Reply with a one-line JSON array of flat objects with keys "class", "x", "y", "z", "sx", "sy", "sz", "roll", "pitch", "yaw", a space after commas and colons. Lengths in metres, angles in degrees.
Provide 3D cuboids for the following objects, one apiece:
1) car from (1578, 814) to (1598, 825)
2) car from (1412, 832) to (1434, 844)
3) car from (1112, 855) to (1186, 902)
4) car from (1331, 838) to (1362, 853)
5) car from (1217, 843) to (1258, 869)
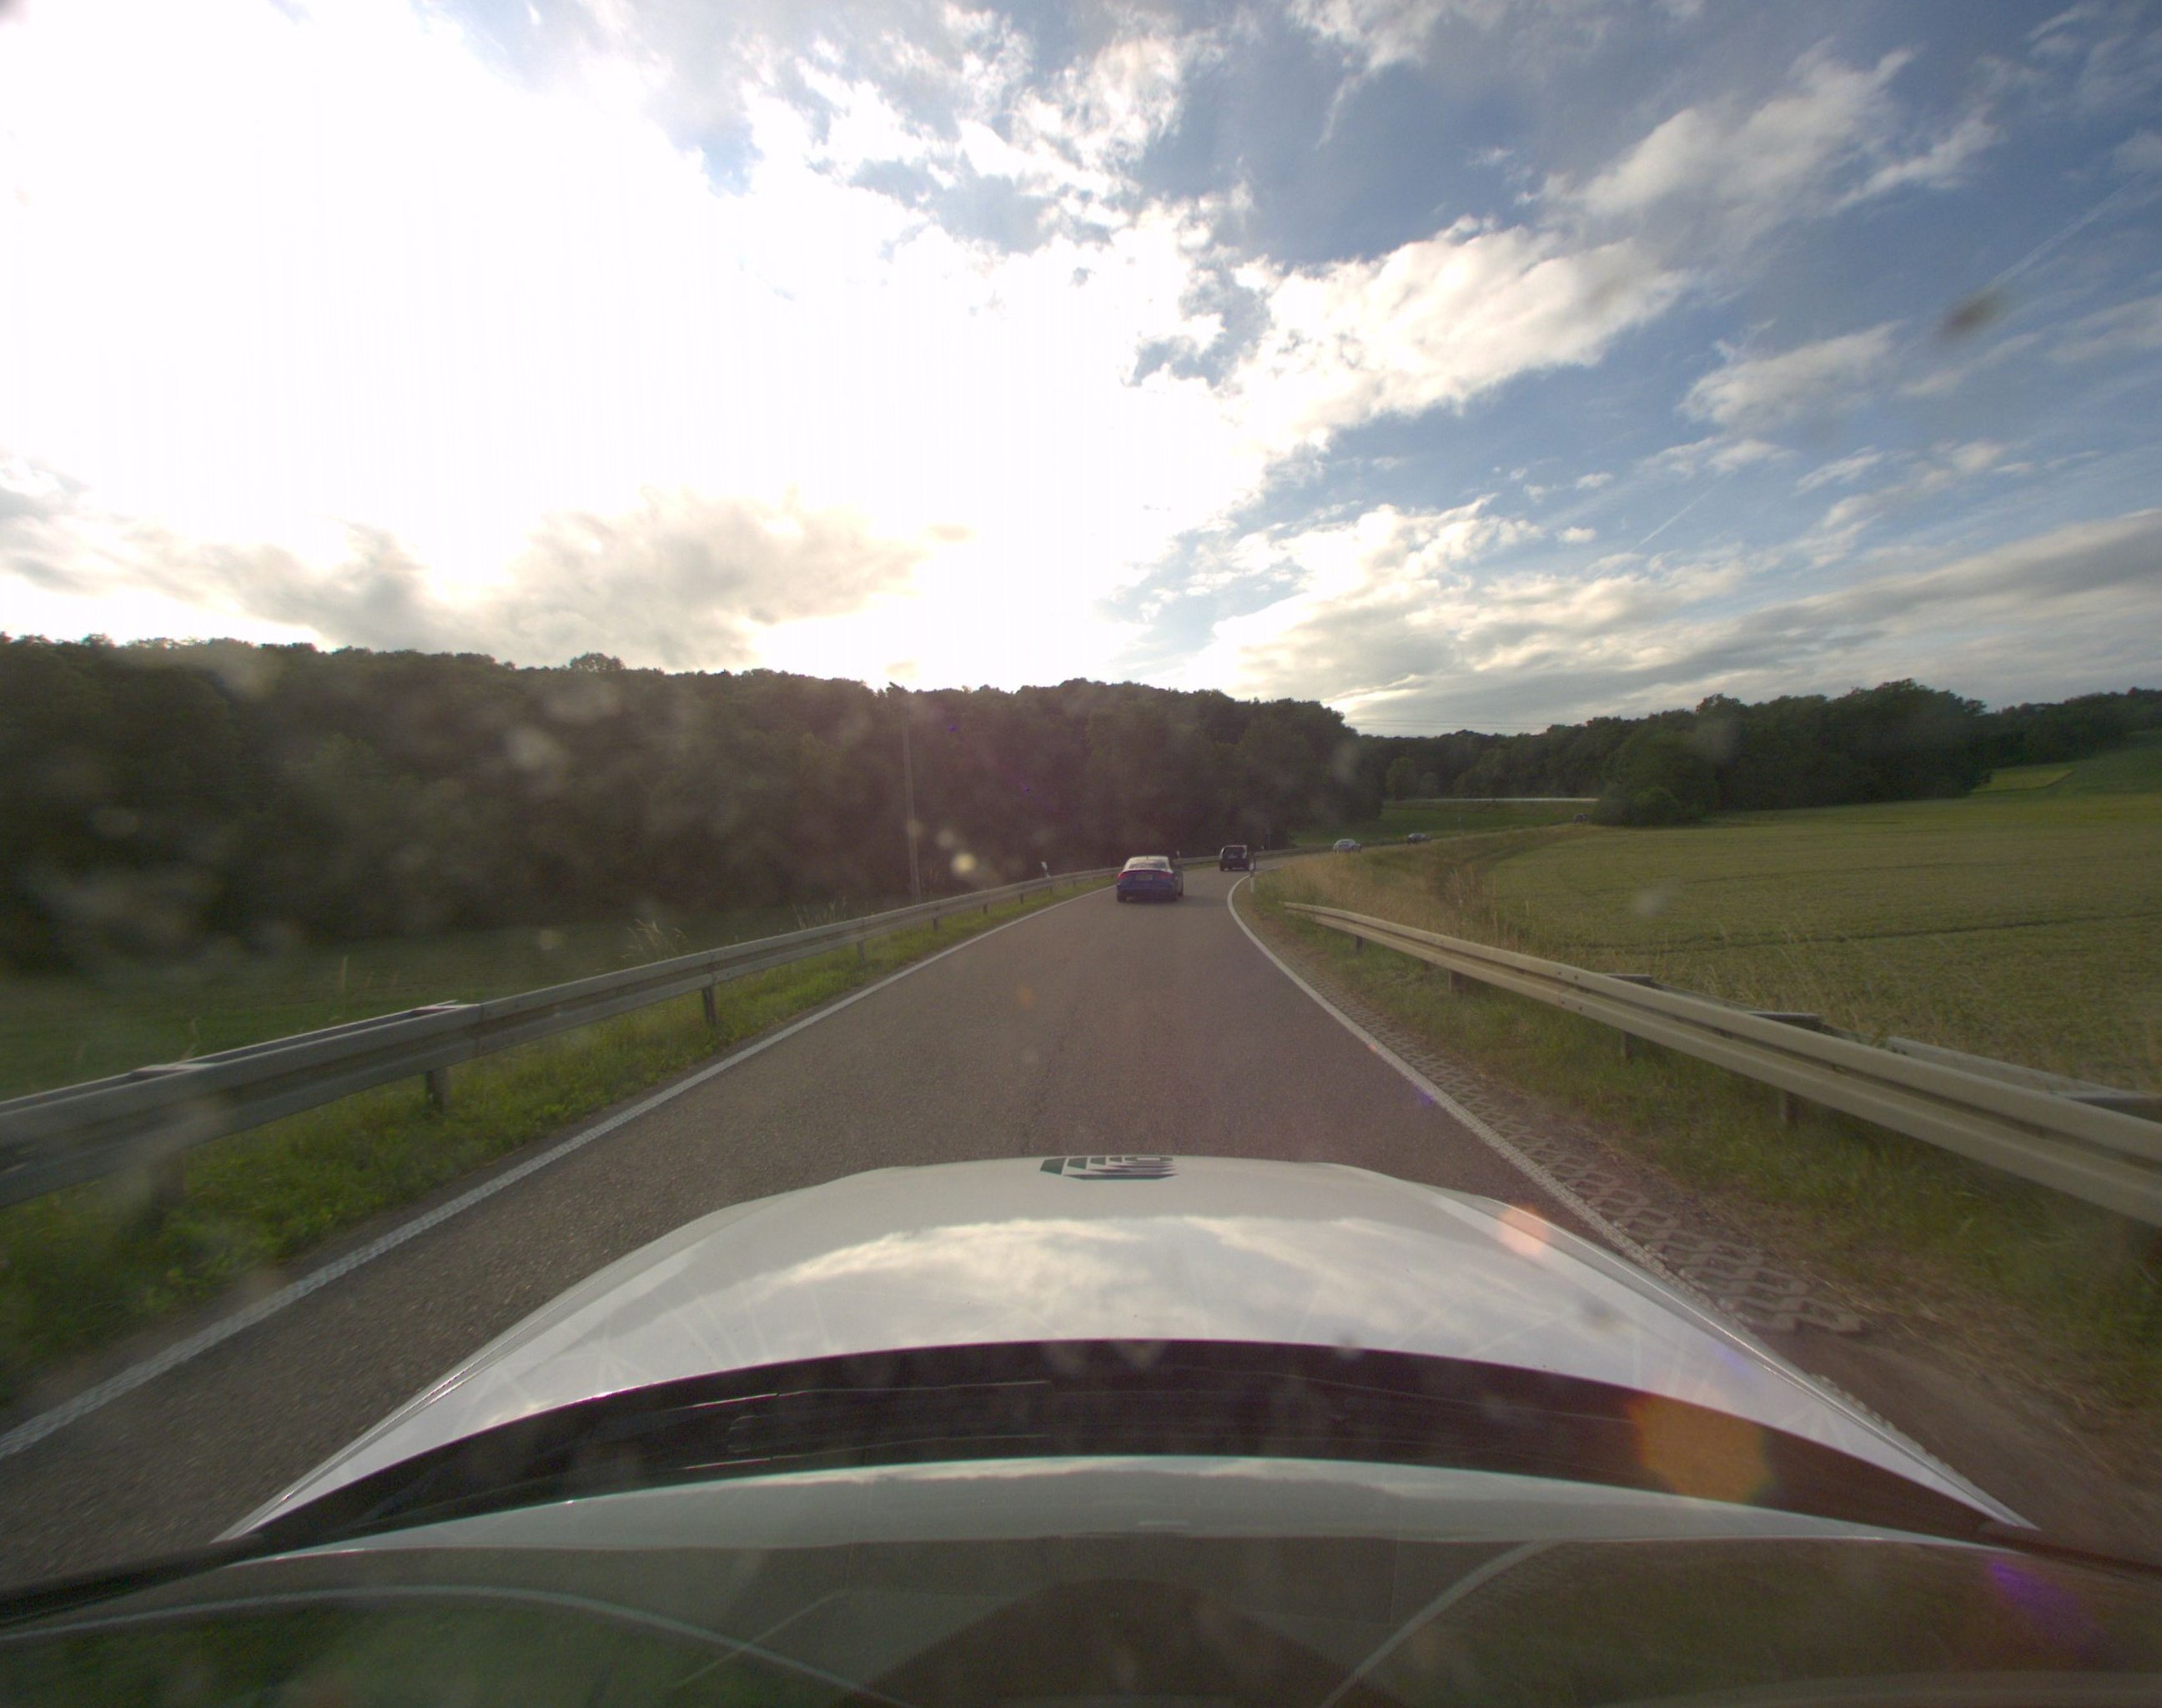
[{"class": "car", "x": 89.155, "y": -6.115, "z": 143.140, "sx": 4.203, "sy": 1.678, "sz": 1.975, "roll": -4, "pitch": 2, "yaw": -44}, {"class": "car", "x": 42.834, "y": -2.001, "z": 102.045, "sx": 1.457, "sy": 1.227, "sz": 3.320, "roll": -5, "pitch": 0, "yaw": 43}, {"class": "car", "x": 2.235, "y": 0.718, "z": 25.699, "sx": 1.807, "sy": 1.339, "sz": 4.363, "roll": -2, "pitch": 0, "yaw": 11}, {"class": "car", "x": 27.546, "y": -0.864, "z": 84.369, "sx": 1.666, "sy": 1.376, "sz": 4.026, "roll": -4, "pitch": -1, "yaw": 38}, {"class": "car", "x": 10.005, "y": 0.109, "z": 51.846, "sx": 1.846, "sy": 1.568, "sz": 4.020, "roll": -2, "pitch": 0, "yaw": 20}]
